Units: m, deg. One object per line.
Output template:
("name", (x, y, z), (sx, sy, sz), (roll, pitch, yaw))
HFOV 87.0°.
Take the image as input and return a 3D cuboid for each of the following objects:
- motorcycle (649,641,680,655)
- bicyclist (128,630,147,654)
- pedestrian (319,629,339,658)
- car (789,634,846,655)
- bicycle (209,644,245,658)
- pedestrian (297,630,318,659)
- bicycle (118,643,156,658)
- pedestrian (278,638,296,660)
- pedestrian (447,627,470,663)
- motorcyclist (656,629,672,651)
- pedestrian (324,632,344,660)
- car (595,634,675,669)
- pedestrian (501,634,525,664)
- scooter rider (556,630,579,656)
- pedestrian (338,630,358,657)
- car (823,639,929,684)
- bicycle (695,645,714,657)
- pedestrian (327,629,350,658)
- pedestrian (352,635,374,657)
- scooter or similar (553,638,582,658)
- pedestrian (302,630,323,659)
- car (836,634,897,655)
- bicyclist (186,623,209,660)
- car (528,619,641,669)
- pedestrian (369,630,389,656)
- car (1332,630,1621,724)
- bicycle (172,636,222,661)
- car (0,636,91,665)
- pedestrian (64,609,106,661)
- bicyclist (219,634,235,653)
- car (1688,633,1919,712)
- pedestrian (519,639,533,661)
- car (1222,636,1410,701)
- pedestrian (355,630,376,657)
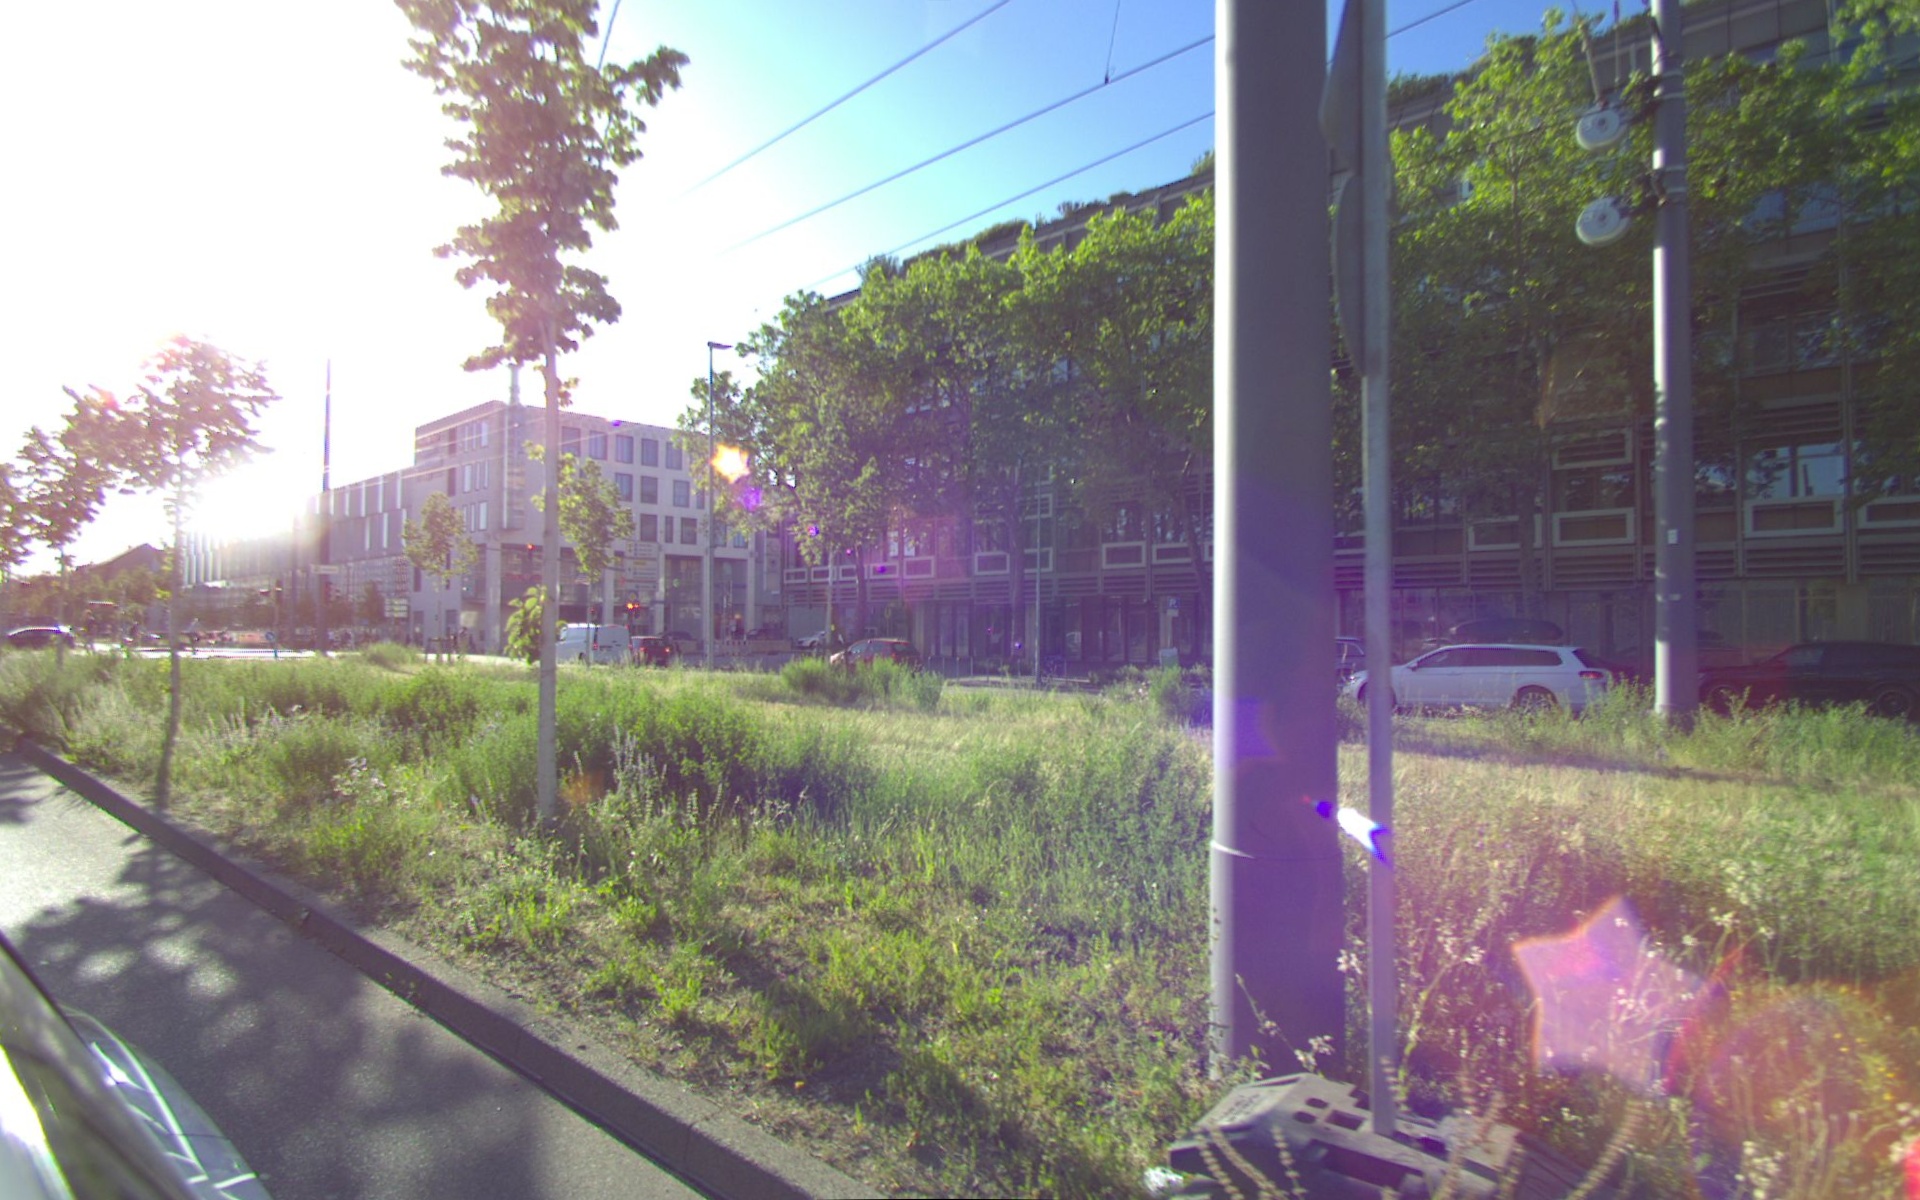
("motorcycle", (-20.295, 3.292, 69.591), (1.926, 0.976, 0.760), (1, -2, -29))
("bicyclist", (-54.461, 2.755, 66.975), (0.927, 1.556, 0.650), (1, -2, -42))
("pedestrian", (-48.361, 3.329, 77.539), (0.888, 2.140, 0.944), (0, -2, 10))
("car", (-12.525, 3.898, 89.173), (4.479, 1.725, 2.129), (2, -2, -39))
("bicycle", (-53.535, 3.716, 73.911), (0.805, 0.934, 2.048), (-2, -2, 42))
("pedestrian", (-49.260, 3.333, 76.398), (0.889, 2.140, 0.943), (0, -2, 13))
("bicycle", (-54.447, 3.333, 66.955), (1.948, 1.004, 0.650), (1, -2, -43))
("pedestrian", (-49.209, 3.585, 74.017), (0.929, 1.583, 0.844), (1, -2, -26))
("pedestrian", (-25.082, 2.236, 50.644), (0.857, 1.757, 0.729), (-2, -2, 39))
("motorcyclist", (-20.344, 2.772, 69.573), (0.866, 1.495, 0.760), (1, -2, -29))
("pedestrian", (-49.248, 3.614, 79.634), (0.890, 2.140, 0.942), (0, -2, 17))
("car", (-15.201, 2.414, 47.315), (3.879, 1.497, 1.820), (-2, -6, 42))
("pedestrian", (-23.887, 2.618, 54.082), (0.898, 1.561, 0.911), (-2, -1, 40))
("scooter rider", (-23.776, 2.601, 61.323), (0.644, 1.556, 1.101), (-1, -2, 44))
("pedestrian", (-48.229, 3.414, 79.745), (0.889, 2.140, 0.943), (0, -2, 13))
("car", (-3.006, 2.164, 35.758), (3.574, 1.464, 1.692), (-2, -5, 41))
("bicycle", (-23.795, 4.748, 94.183), (0.673, 1.119, 2.479), (2, -3, -41))
("pedestrian", (-46.939, 3.300, 76.451), (1.050, 2.145, 1.096), (0, -2, 4))
("pedestrian", (-45.471, 3.479, 77.085), (0.995, 1.663, 0.947), (0, -2, 5))
("scooter or similar", (-23.780, 2.889, 61.321), (0.644, 1.184, 1.462), (-1, -2, 44))
("pedestrian", (-48.268, 3.295, 75.463), (0.887, 2.140, 0.945), (0, -2, 5))
("car", (-7.723, 3.701, 84.110), (4.720, 1.675, 2.203), (2, -3, -44))
("bicyclist", (-35.340, 1.932, 46.902), (0.774, 1.682, 0.702), (2, -3, -43))
("car", (-16.499, 1.917, 44.367), (5.708, 2.029, 2.234), (-2, -5, 43))
("pedestrian", (-46.468, 3.423, 80.895), (0.906, 2.029, 1.021), (0, -2, 7))
("car", (9.889, 1.409, 19.634), (4.691, 1.606, 1.821), (-2, -3, 41))
("bicycle", (-35.346, 2.243, 46.899), (1.773, 1.102, 0.710), (2, -3, -43))
("car", (-51.727, 2.809, 56.912), (4.231, 1.593, 1.945), (2, -3, -45))
("pedestrian", (-33.010, 1.328, 38.182), (1.015, 1.925, 1.036), (-2, -3, 43))
("bicyclist", (-53.545, 3.182, 73.924), (0.805, 1.367, 0.830), (-2, -2, 42))
("car", (18.897, 1.531, 22.200), (4.620, 1.569, 1.726), (-1, -1, 40))
("pedestrian", (-34.737, 3.963, 80.984), (0.753, 1.753, 0.745), (-2, -3, 45))
("car", (10.454, 1.952, 29.931), (4.863, 1.693, 1.974), (-1, -1, 39))
("pedestrian", (-46.651, 3.412, 79.400), (0.907, 2.029, 1.021), (0, -2, 9))
